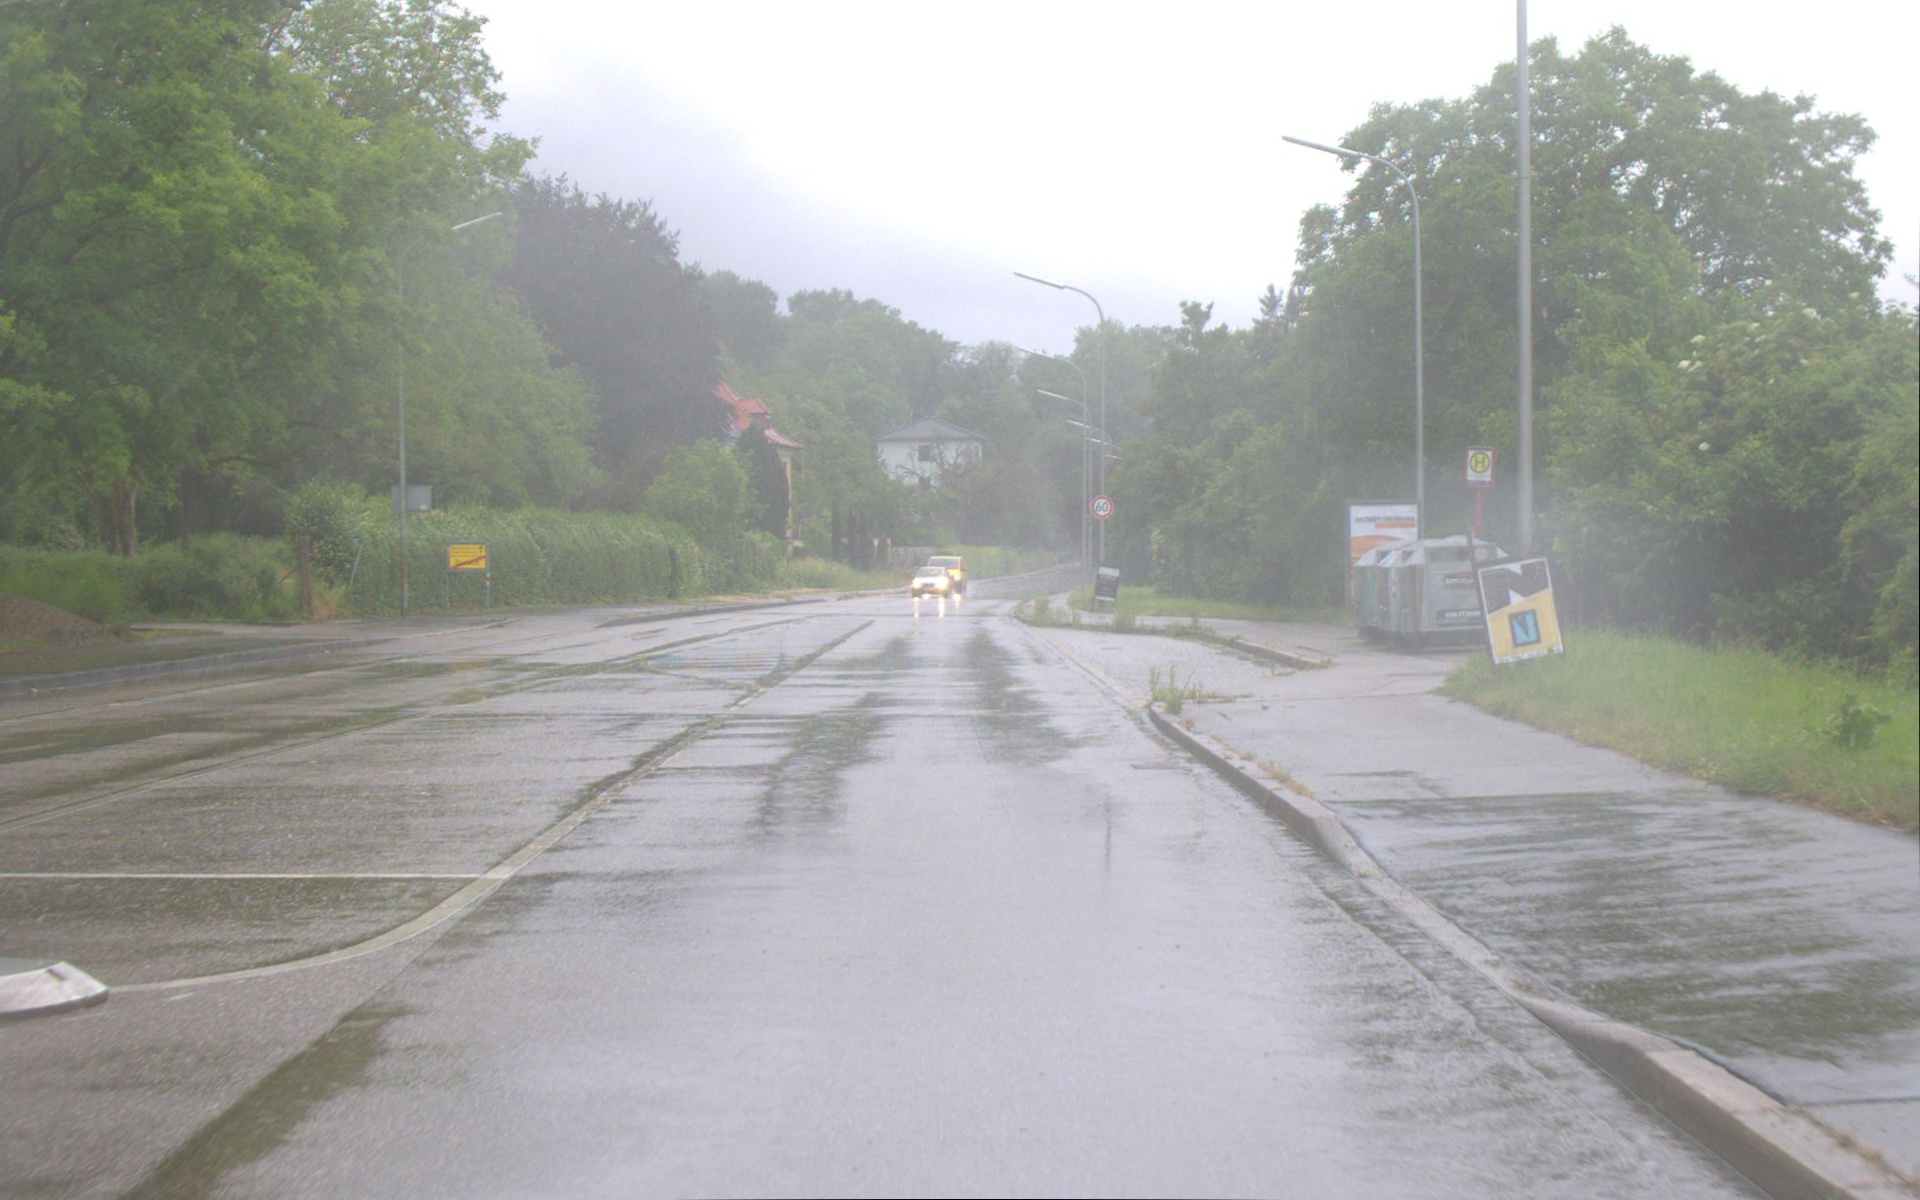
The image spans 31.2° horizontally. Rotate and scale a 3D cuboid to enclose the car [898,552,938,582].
[{"bbox_3d":[-1.896,-1.514,156.278,1.701,1.345,3.905,0,1,1],"label":"car"}]
